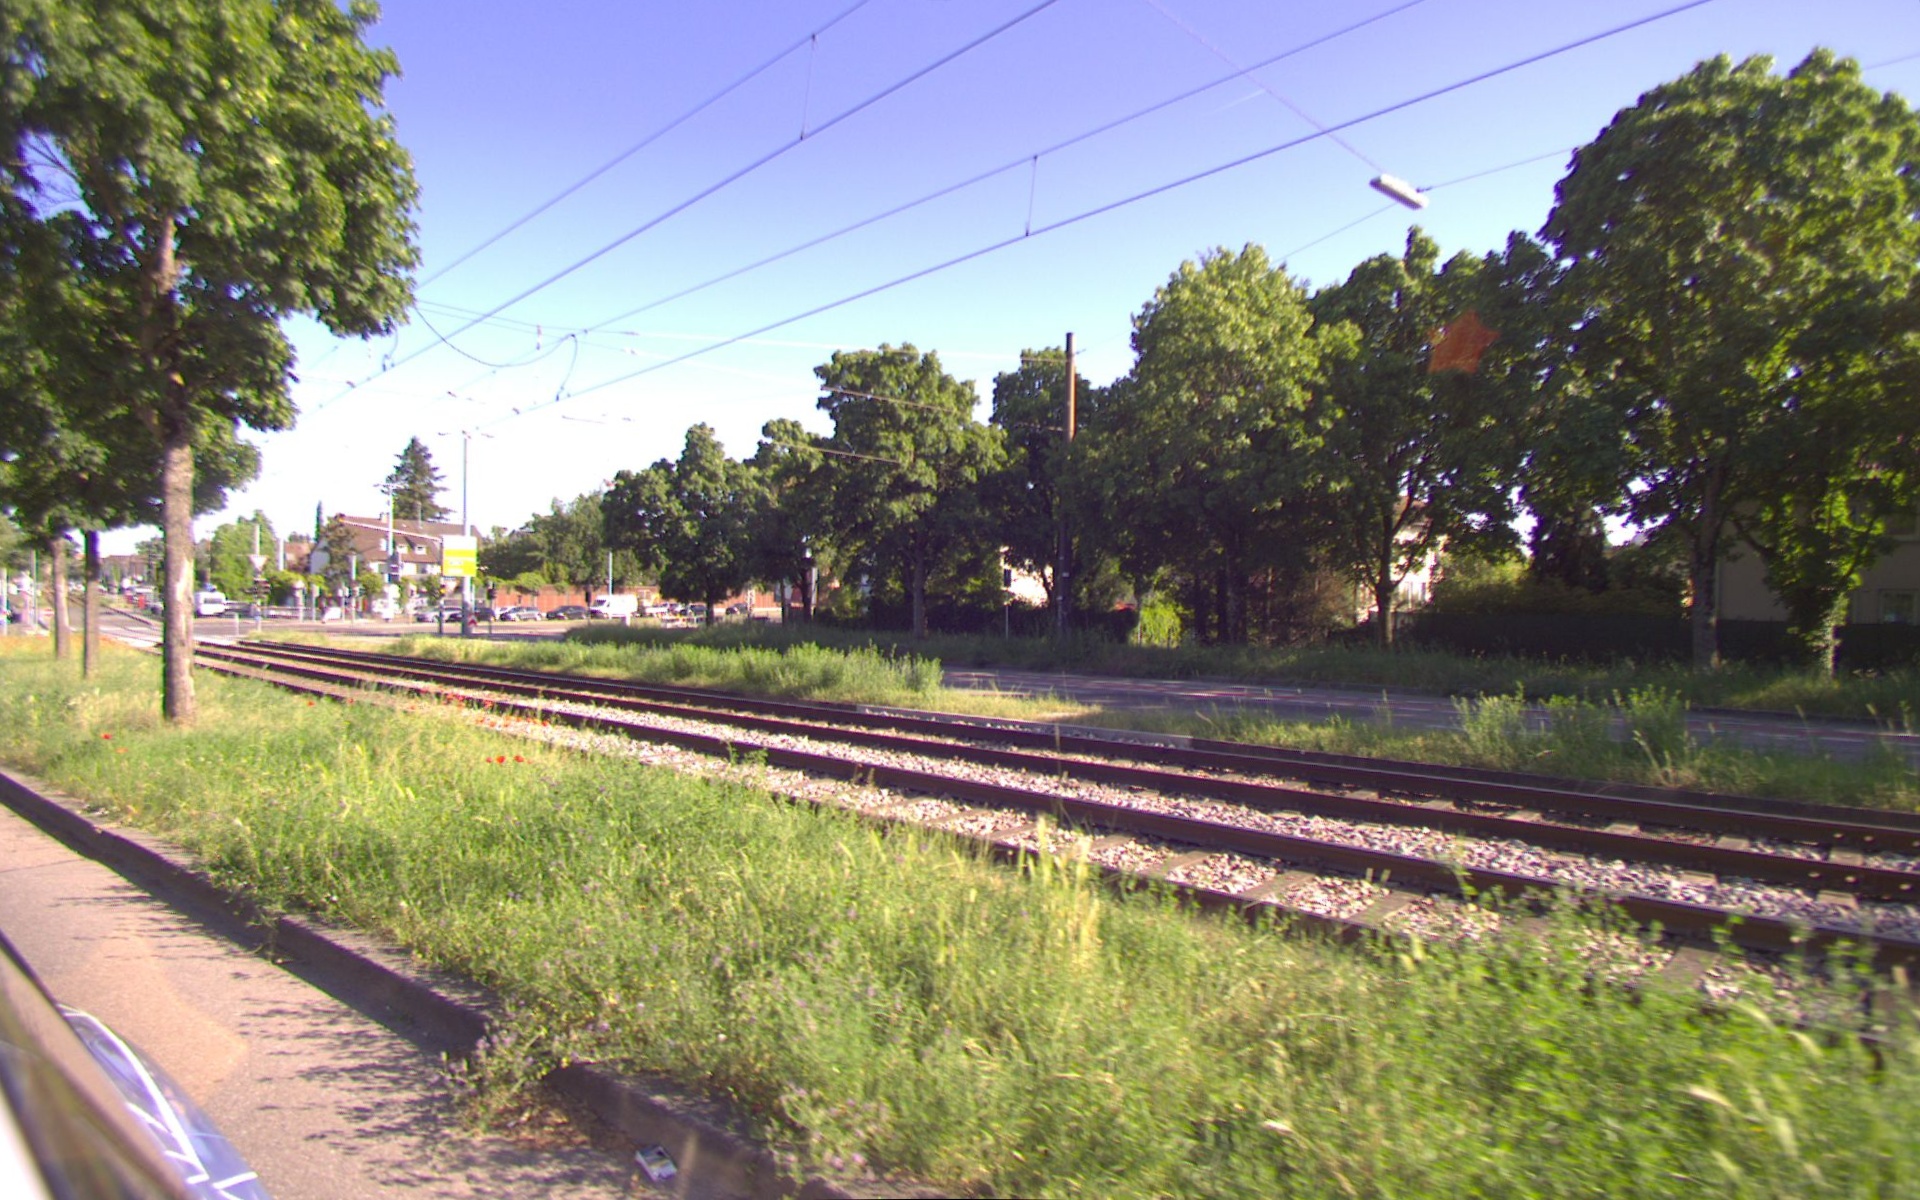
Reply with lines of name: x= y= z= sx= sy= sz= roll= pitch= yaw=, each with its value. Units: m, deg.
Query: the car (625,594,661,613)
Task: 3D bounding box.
car: x=-35.007 y=0.396 z=111.847 sx=1.794 sy=2.029 sz=3.975 roll=1 pitch=0 yaw=19

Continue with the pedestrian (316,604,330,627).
pedestrian: x=-53.204 y=1.276 z=84.504 sx=0.766 sy=1.963 sz=0.611 roll=0 pitch=0 yaw=4

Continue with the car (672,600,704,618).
car: x=-32.152 y=1.034 z=119.577 sx=1.794 sy=2.029 sz=3.976 roll=1 pitch=0 yaw=18

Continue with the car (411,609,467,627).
car: x=-46.662 y=1.577 z=90.703 sx=1.660 sy=1.488 sz=4.606 roll=1 pitch=0 yaw=19

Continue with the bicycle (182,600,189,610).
bicycle: x=-90.229 y=0.577 z=117.858 sx=0.501 sy=1.050 sz=1.951 roll=1 pitch=0 yaw=-43

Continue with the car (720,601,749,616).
car: x=-28.400 y=1.073 z=127.308 sx=1.794 sy=1.755 sz=3.976 roll=0 pitch=0 yaw=18

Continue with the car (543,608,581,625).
car: x=-39.251 y=1.612 z=99.819 sx=1.487 sy=1.579 sz=3.502 roll=0 pitch=0 yaw=22

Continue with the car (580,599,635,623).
car: x=-36.894 y=1.091 z=106.132 sx=2.166 sy=2.429 sz=5.879 roll=1 pitch=0 yaw=21

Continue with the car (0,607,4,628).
car: x=-73.326 y=1.300 z=76.221 sx=1.855 sy=1.539 sz=4.425 roll=1 pitch=0 yaw=-44

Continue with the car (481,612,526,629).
car: x=-44.315 y=1.978 z=98.290 sx=1.660 sy=1.488 sz=3.974 roll=1 pitch=0 yaw=19

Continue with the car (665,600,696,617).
car: x=-34.114 y=0.994 z=123.508 sx=1.794 sy=2.029 sz=3.976 roll=1 pitch=0 yaw=18

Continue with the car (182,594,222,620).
car: x=-74.308 y=0.677 z=99.184 sx=2.313 sy=2.476 sz=6.877 roll=1 pitch=0 yaw=-44

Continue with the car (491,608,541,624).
car: x=-41.522 y=1.499 z=94.788 sx=1.923 sy=1.477 sz=4.231 roll=-1 pitch=0 yaw=19

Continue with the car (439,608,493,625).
car: x=-43.743 y=1.430 z=89.717 sx=1.923 sy=1.477 sz=4.221 roll=0 pitch=0 yaw=19
